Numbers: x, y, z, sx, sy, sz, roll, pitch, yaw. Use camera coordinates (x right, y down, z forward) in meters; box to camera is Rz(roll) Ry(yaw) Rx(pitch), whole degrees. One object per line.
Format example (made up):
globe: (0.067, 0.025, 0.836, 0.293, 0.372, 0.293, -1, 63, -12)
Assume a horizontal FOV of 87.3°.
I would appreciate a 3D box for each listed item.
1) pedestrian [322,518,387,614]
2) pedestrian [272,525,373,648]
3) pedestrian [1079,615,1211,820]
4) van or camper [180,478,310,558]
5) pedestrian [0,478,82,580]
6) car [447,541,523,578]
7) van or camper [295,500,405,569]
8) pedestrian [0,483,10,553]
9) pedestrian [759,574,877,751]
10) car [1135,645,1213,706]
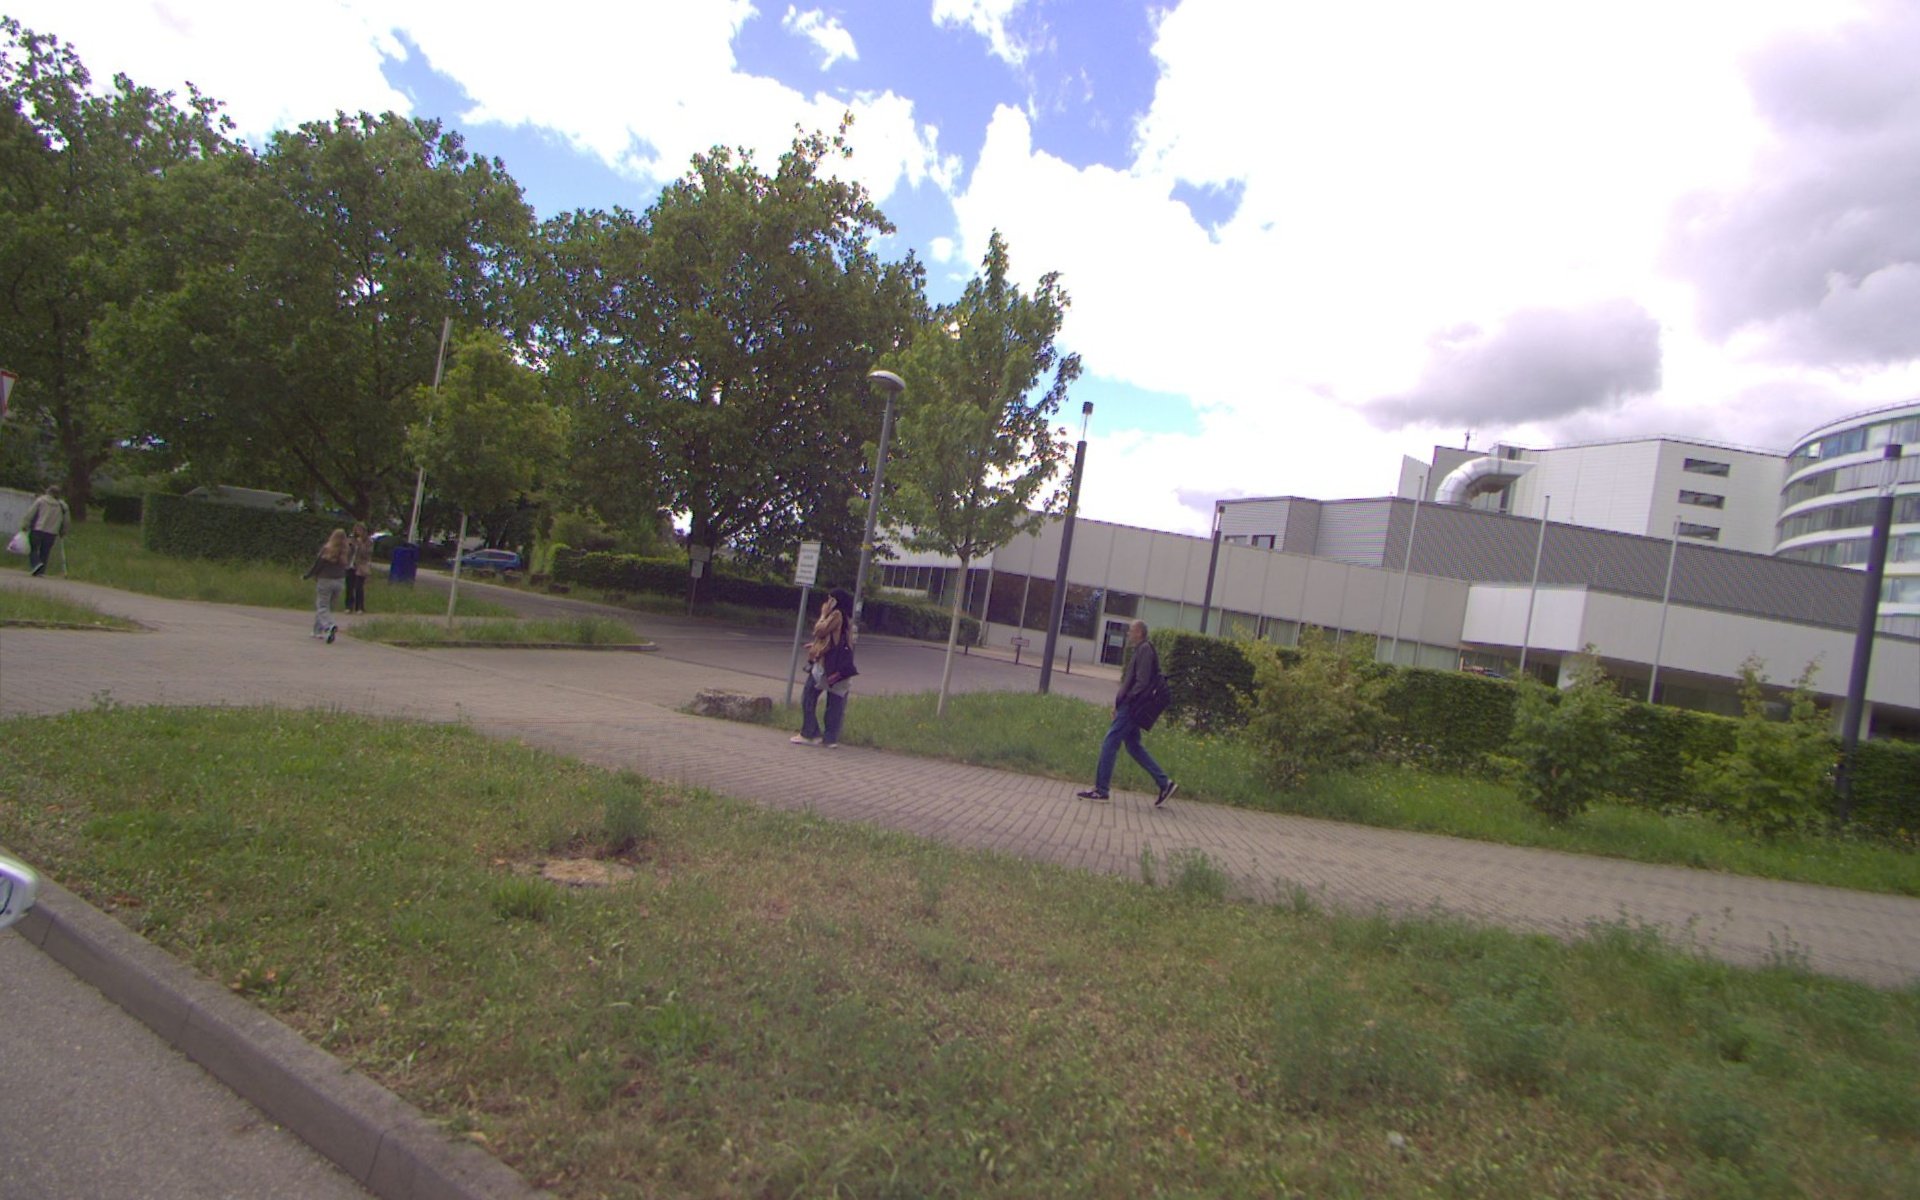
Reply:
pedestrian: (-11.663, -0.649, 19.381, 0.695, 1.731, 0.654, 7, -1, 34)
pedestrian: (-9.292, -0.195, 14.663, 0.915, 1.640, 0.689, 7, -1, 25)
pedestrian: (1.711, 1.071, 9.438, 0.870, 1.742, 0.763, 8, -1, -2)
van or camper: (-32.622, -3.695, 46.103, 4.436, 2.830, 2.098, 9, -2, -32)
pedestrian: (-17.974, -1.375, 19.638, 0.863, 1.813, 0.833, 7, -1, 28)
car: (-28.896, -2.460, 61.205, 3.955, 1.592, 1.754, 9, -2, -28)
van or camper: (-31.612, -3.345, 52.302, 4.427, 2.830, 2.102, 9, -1, -26)
pedestrian: (-21.097, -1.670, 21.496, 0.863, 1.813, 0.741, 7, -1, 28)
pedestrian: (-1.470, 0.646, 10.527, 0.880, 1.688, 0.653, 7, -1, 8)
car: (6.114, 2.149, 29.152, 1.677, 1.406, 4.124, 8, -2, 7)
